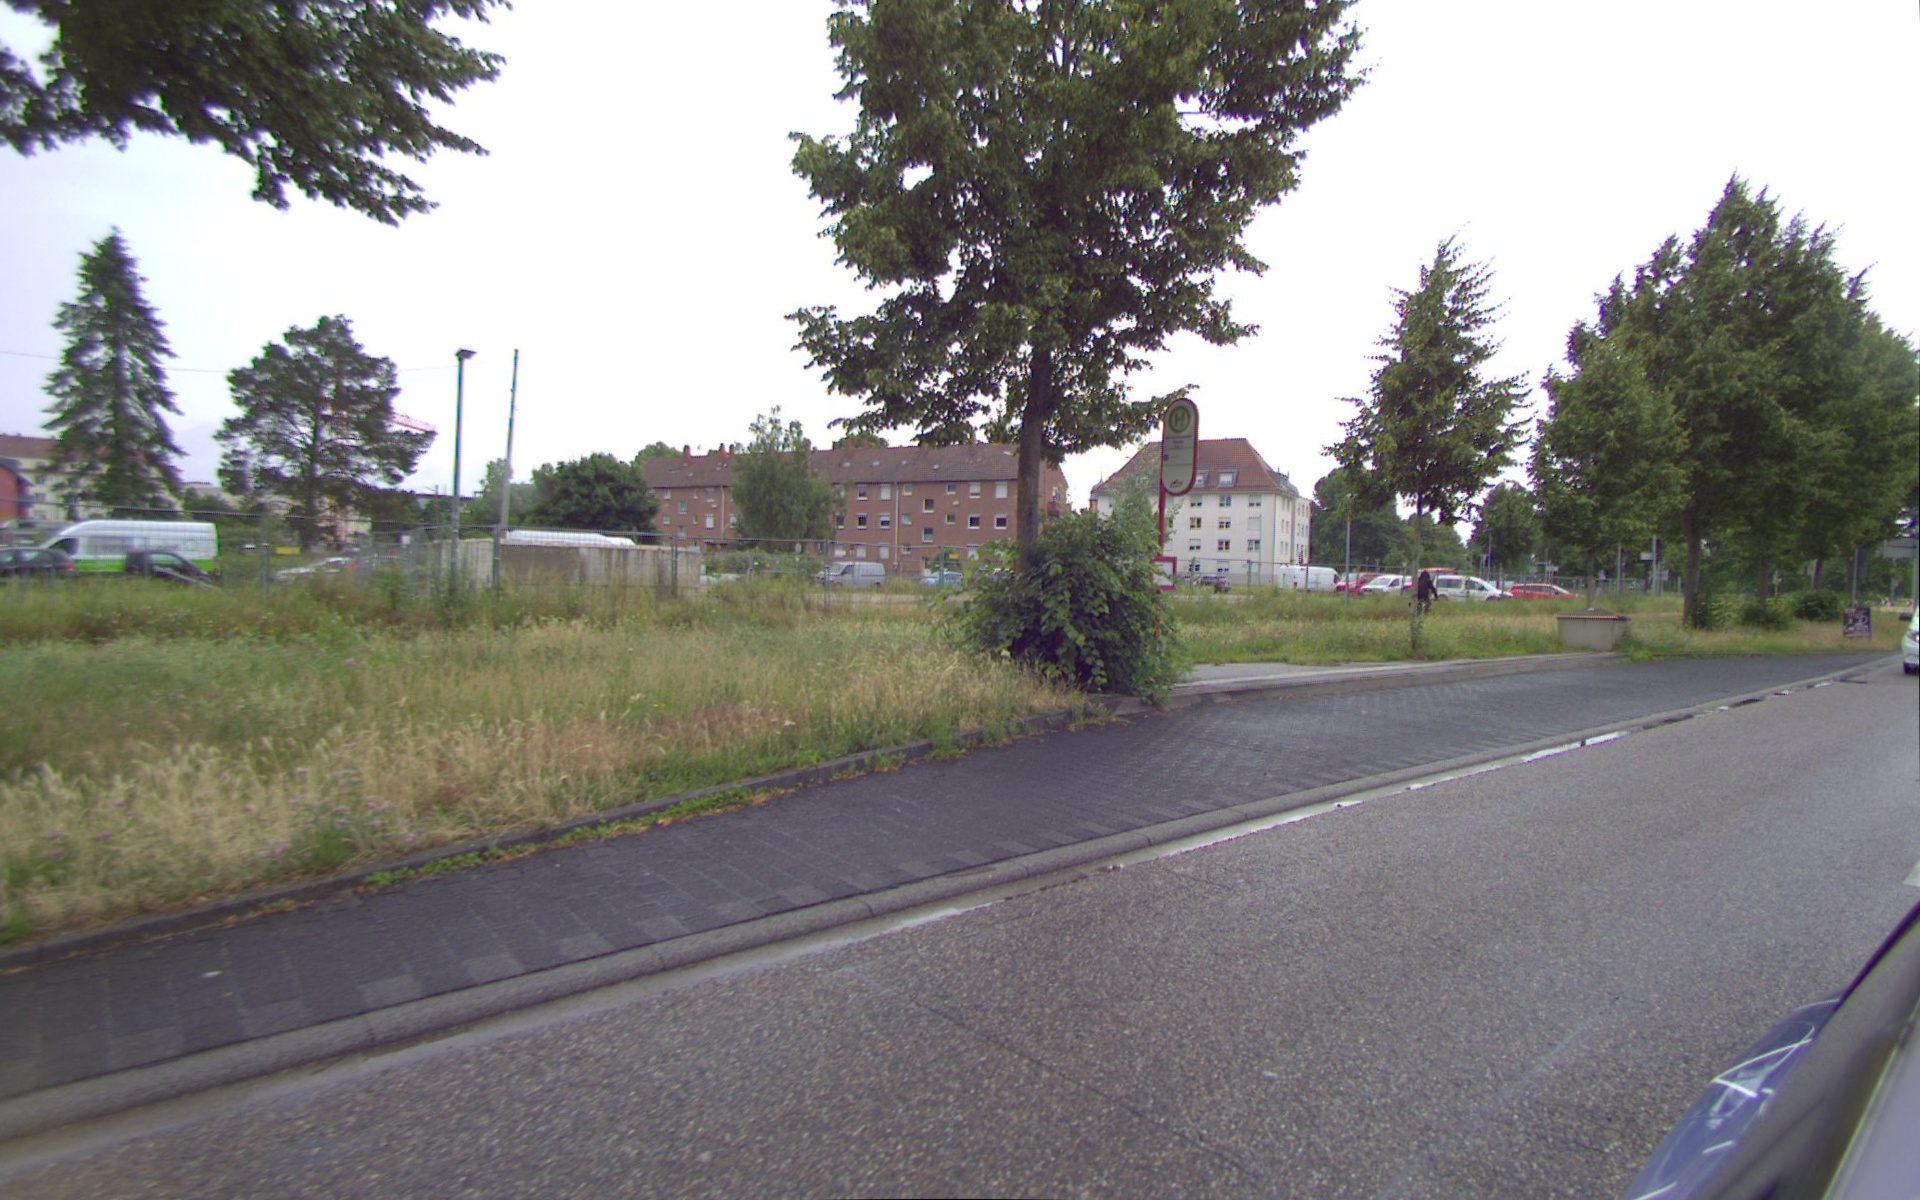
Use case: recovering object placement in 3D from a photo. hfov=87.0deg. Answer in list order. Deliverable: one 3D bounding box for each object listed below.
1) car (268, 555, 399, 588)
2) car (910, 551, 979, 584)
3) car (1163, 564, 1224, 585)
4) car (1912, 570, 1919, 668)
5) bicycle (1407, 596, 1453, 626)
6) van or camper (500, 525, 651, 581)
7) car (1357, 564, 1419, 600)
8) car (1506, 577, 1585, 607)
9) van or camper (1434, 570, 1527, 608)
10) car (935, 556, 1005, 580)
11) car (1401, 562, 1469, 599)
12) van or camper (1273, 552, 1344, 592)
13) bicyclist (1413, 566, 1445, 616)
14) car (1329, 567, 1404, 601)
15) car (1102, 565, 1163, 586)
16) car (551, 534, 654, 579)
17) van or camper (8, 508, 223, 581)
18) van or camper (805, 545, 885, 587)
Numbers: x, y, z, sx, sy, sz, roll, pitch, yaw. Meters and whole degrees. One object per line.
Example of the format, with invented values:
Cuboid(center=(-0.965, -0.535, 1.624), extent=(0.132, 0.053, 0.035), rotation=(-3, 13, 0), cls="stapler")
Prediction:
Cuboid(center=(-27.917, -1.269, 45.192), extent=(4.682, 1.369, 1.843), rotation=(0, 2, -45), cls="car")
Cuboid(center=(-1.088, -2.325, 72.141), extent=(4.682, 2.247, 2.273), rotation=(0, 2, -45), cls="car")
Cuboid(center=(17.313, -1.879, 75.175), extent=(3.916, 1.571, 2.004), rotation=(0, 0, -14), cls="car")
Cuboid(center=(22.052, 0.397, 21.587), extent=(5.002, 2.004, 1.972), rotation=(-1, 2, -40), cls="car")
Cuboid(center=(14.683, 0.326, 31.616), extent=(1.713, 0.889, 0.548), rotation=(0, 2, -38), cls="bicycle")
Cuboid(center=(-17.464, -2.064, 46.194), extent=(6.045, 2.336, 2.205), rotation=(0, 1, -43), cls="van or camper")
Cuboid(center=(29.202, -1.238, 69.097), extent=(3.921, 2.339, 2.002), rotation=(0, 1, -32), cls="car")
Cuboid(center=(35.329, -0.475, 61.118), extent=(1.647, 1.727, 3.807), rotation=(0, 0, -34), cls="car")
Cuboid(center=(29.482, -0.623, 57.426), extent=(4.322, 2.039, 1.832), rotation=(2, 1, 44), cls="van or camper")
Cuboid(center=(0.670, -1.981, 64.025), extent=(1.992, 1.404, 4.500), rotation=(0, 1, 41), cls="car")
Cuboid(center=(30.988, -1.288, 66.035), extent=(3.918, 2.339, 2.003), rotation=(0, 1, -28), cls="car")
Cuboid(center=(27.497, -2.184, 79.727), extent=(5.400, 3.073, 2.349), rotation=(0, 0, -30), cls="van or camper")
Cuboid(center=(14.619, -0.287, 31.548), extent=(0.825, 1.524, 0.537), rotation=(0, 2, -38), cls="bicyclist")
Cuboid(center=(28.965, -1.108, 72.111), extent=(5.339, 2.339, 2.200), rotation=(0, 1, -32), cls="car")
Cuboid(center=(12.655, -1.762, 74.206), extent=(3.916, 1.471, 2.004), rotation=(0, 0, -14), cls="car")
Cuboid(center=(-19.113, -2.295, 54.205), extent=(4.682, 2.247, 2.273), rotation=(0, 2, -45), cls="car")
Cuboid(center=(-33.134, -2.089, 39.881), extent=(6.312, 2.567, 2.779), rotation=(0, 1, -43), cls="van or camper")
Cuboid(center=(-7.354, -2.139, 65.276), extent=(1.912, 2.567, 5.181), rotation=(2, 1, 42), cls="van or camper")
